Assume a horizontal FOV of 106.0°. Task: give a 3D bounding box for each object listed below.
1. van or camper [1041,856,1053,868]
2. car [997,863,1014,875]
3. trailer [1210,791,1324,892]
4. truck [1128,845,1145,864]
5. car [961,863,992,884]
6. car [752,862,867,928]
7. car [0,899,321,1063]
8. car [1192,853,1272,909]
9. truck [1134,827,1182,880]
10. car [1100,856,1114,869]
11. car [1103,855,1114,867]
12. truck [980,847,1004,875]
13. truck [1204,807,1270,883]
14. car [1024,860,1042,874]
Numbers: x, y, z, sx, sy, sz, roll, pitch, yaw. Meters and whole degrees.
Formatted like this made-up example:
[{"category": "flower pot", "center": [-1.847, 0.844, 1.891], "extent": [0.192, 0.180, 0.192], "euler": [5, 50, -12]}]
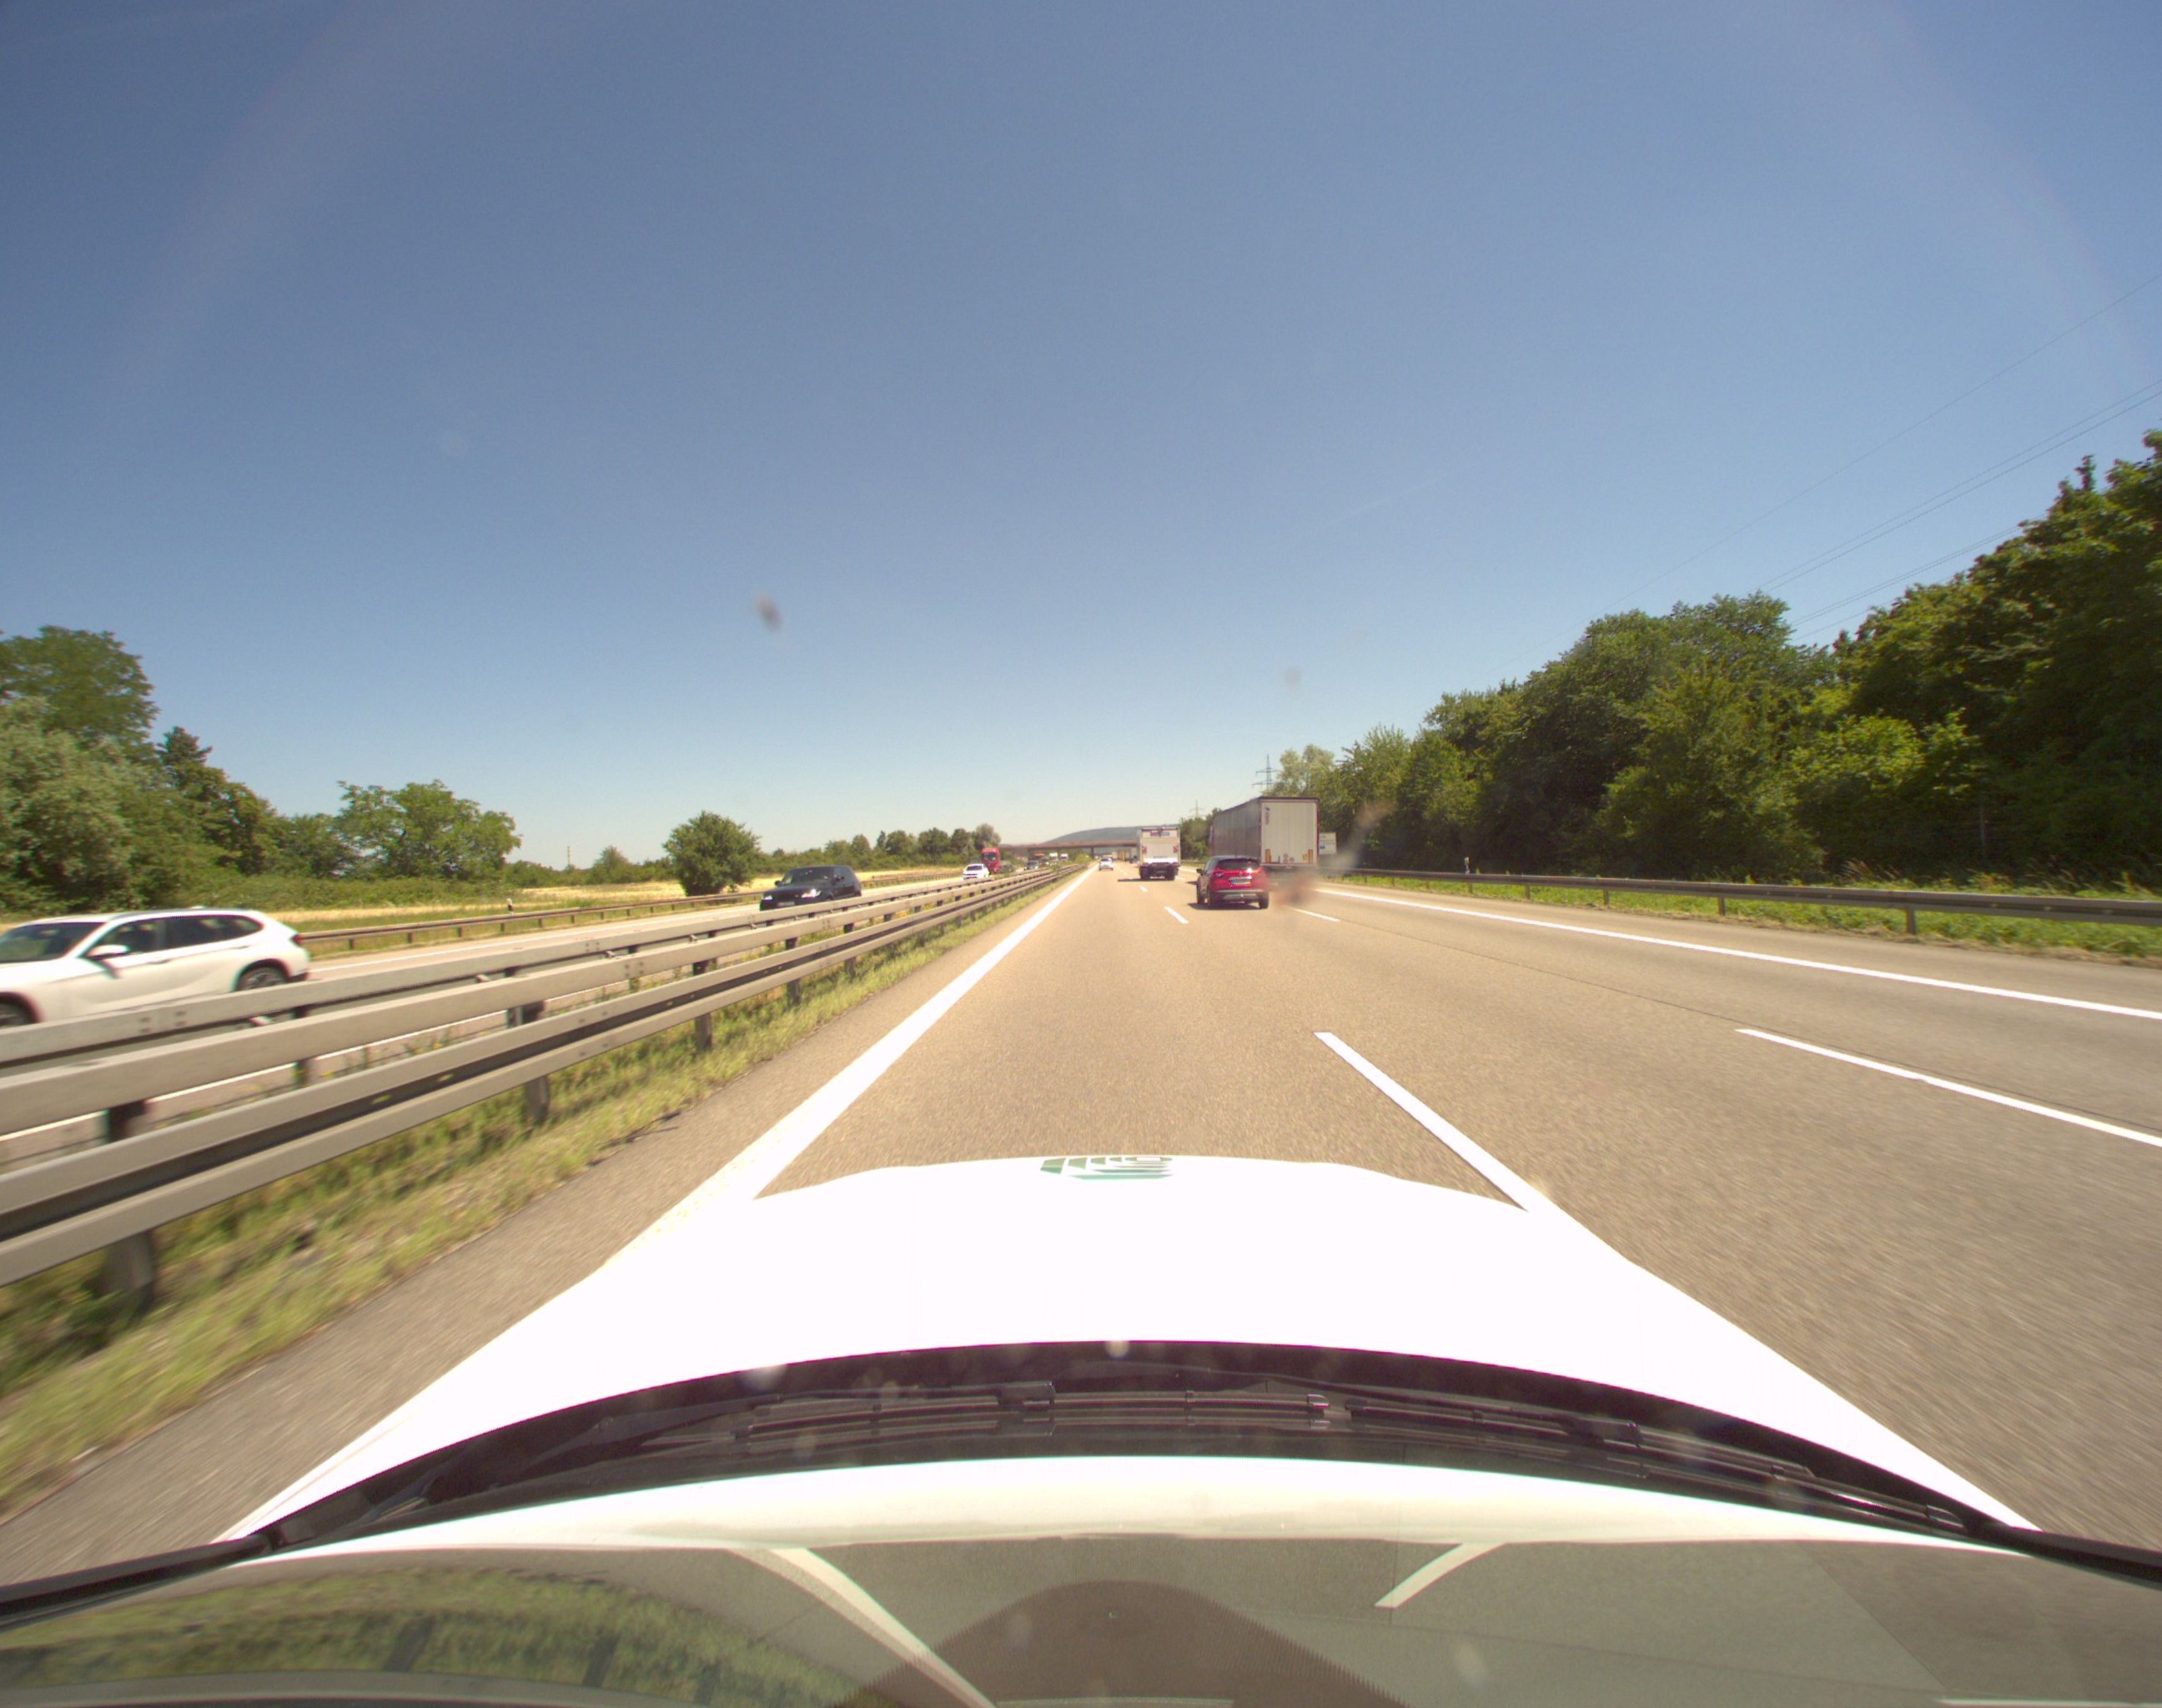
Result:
[{"category": "van or camper", "center": [-7.504, 1.741, 179.873], "extent": [2.163, 2.588, 5.874], "euler": [-4, -1, 1]}, {"category": "car", "center": [-10.145, 2.032, 109.539], "extent": [1.727, 1.451, 3.678], "euler": [-4, 0, 1]}, {"category": "trailer", "center": [8.889, -0.503, 40.974], "extent": [2.779, 4.164, 13.576], "euler": [-1, 0, 1]}, {"category": "truck", "center": [13.865, 0.082, 204.365], "extent": [3.507, 4.416, 14.596], "euler": [-3, 0, 2]}, {"category": "car", "center": [-8.445, 1.544, 66.075], "extent": [1.802, 1.536, 3.962], "euler": [-3, 0, 1]}, {"category": "car", "center": [-8.404, 1.200, 25.706], "extent": [1.952, 1.772, 4.444], "euler": [-3, 0, 2]}, {"category": "car", "center": [-12.472, 1.507, 10.165], "extent": [1.872, 1.566, 4.194], "euler": [-3, 0, 2]}, {"category": "car", "center": [4.534, 0.776, 24.916], "extent": [1.796, 1.545, 4.002], "euler": [-1, 0, 2]}, {"category": "truck", "center": [5.264, -0.027, 56.753], "extent": [2.772, 3.373, 8.130], "euler": [-1, 0, 2]}, {"category": "car", "center": [3.148, 1.046, 97.785], "extent": [1.601, 1.467, 4.002], "euler": [-2, 0, 2]}, {"category": "car", "center": [4.405, 1.158, 130.607], "extent": [1.754, 1.850, 4.002], "euler": [-2, 0, 2]}, {"category": "truck", "center": [-13.524, 1.016, 124.045], "extent": [2.751, 4.014, 5.752], "euler": [-4, 0, 1]}, {"category": "truck", "center": [9.020, -0.480, 47.723], "extent": [2.785, 4.164, 5.723], "euler": [-1, 0, 1]}, {"category": "car", "center": [-6.121, 1.613, 103.890], "extent": [1.802, 1.647, 3.962], "euler": [-3, 0, 1]}]
